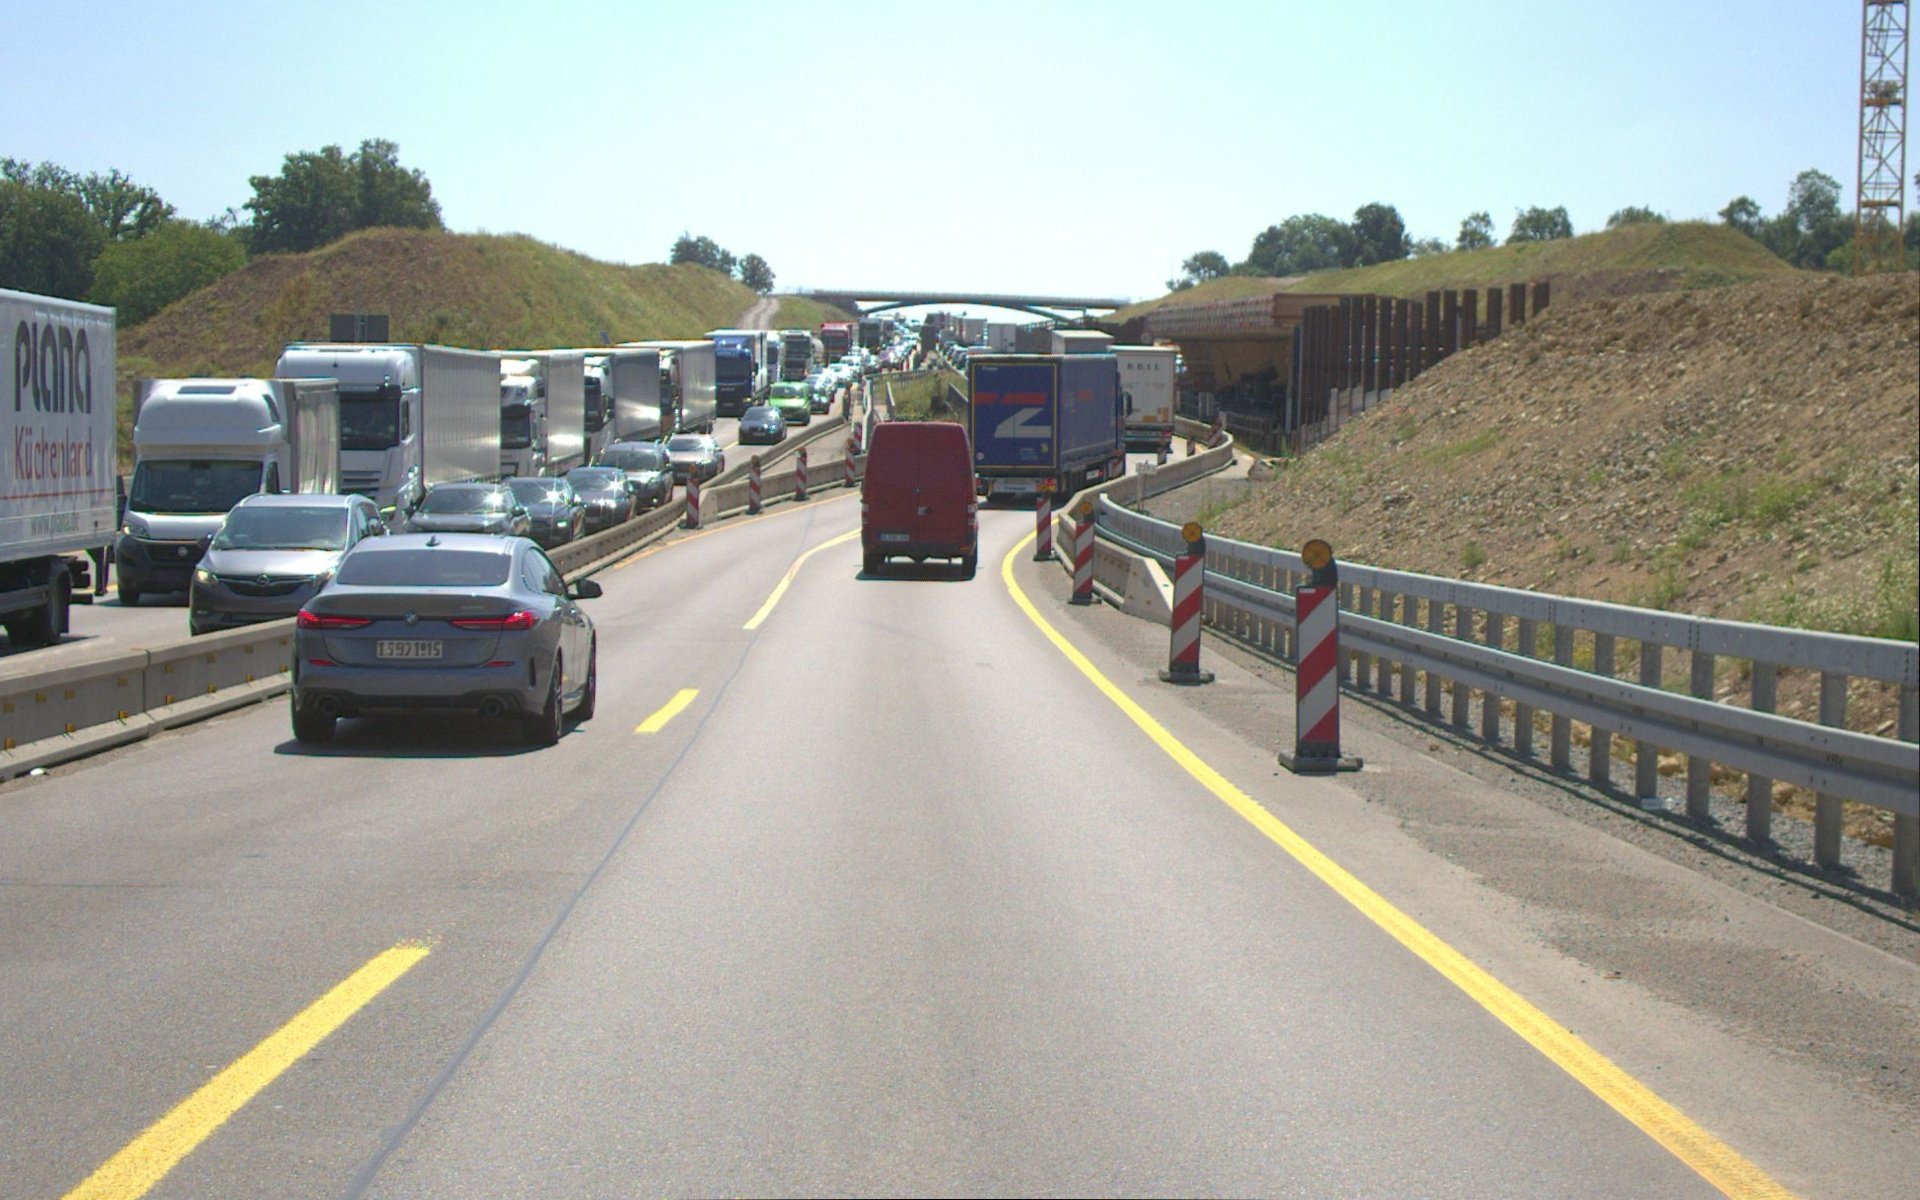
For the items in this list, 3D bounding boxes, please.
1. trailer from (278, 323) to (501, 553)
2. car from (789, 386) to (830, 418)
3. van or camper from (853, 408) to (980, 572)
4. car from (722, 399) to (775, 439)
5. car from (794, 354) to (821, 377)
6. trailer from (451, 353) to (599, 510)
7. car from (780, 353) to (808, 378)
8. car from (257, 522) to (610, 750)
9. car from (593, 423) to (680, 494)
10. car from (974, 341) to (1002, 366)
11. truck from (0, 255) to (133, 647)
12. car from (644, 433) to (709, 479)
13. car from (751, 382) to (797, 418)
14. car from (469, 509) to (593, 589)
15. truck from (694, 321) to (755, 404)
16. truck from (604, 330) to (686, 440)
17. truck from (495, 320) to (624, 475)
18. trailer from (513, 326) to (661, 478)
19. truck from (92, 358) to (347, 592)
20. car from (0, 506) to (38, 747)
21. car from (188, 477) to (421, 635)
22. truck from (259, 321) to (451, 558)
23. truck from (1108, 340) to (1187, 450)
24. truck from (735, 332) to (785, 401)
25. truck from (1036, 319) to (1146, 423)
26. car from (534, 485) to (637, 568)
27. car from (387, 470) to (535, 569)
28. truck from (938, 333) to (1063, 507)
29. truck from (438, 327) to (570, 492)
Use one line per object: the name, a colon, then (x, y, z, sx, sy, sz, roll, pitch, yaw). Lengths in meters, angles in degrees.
trailer: (-11.406, -3.223, 69.966, 2.595, 4.242, 12.469, 1, 2, -1)
car: (-7.665, -10.106, 175.647, 1.952, 1.524, 4.268, 1, 2, -1)
van or camper: (-0.806, -1.934, 60.218, 2.029, 2.734, 4.516, 1, 2, -3)
car: (-8.524, -7.287, 138.951, 1.952, 1.524, 4.268, 1, 2, -1)
car: (-11.285, -17.370, 254.598, 1.952, 1.524, 4.268, 1, 2, -2)
trailer: (-11.585, -4.410, 92.491, 2.783, 3.918, 11.009, 1, 1, -1)
car: (-11.986, -16.914, 248.210, 1.952, 1.525, 4.268, 1, 1, -2)
car: (-3.659, 0.187, 24.702, 1.851, 1.447, 4.742, 1, 1, -1)
car: (-8.273, -3.621, 88.252, 1.993, 1.777, 4.001, 1, 2, -2)
car: (2.098, -18.331, 255.869, 1.952, 1.635, 4.268, 1, 2, -1)
truck: (-10.730, -1.532, 35.446, 2.524, 3.842, 8.672, 1, 2, -2)
car: (-8.838, -4.483, 107.430, 1.747, 1.404, 4.001, 1, 2, -1)
car: (-8.583, -9.205, 158.638, 1.952, 1.524, 4.268, 1, 2, -1)
car: (-8.293, -1.019, 66.787, 1.902, 1.371, 4.547, -2, 2, -1)
truck: (-11.766, -11.860, 172.490, 2.887, 3.826, 8.003, 1, 2, -3)
truck: (-11.583, -7.871, 126.793, 2.683, 3.826, 7.388, 1, 2, -3)
truck: (-11.997, -6.029, 103.387, 3.052, 4.465, 5.980, 1, 2, 1)
trailer: (-11.776, -6.215, 109.589, 3.042, 4.536, 12.128, 1, 2, 2)
truck: (-10.574, -1.834, 49.700, 2.433, 3.137, 7.025, 0, 3, -2)
car: (-7.172, 0.180, 20.777, 1.993, 1.551, 4.339, 1, 1, 0)
car: (-7.277, -0.503, 38.561, 1.827, 1.645, 4.547, 1, 1, -1)
truck: (-11.311, -3.015, 64.759, 2.550, 4.216, 6.531, 1, 2, -1)
truck: (7.552, -8.160, 137.803, 3.038, 4.086, 7.084, 0, 1, 4)
truck: (-11.960, -13.982, 206.378, 2.887, 3.826, 8.003, 1, 2, -3)
truck: (7.131, -12.156, 184.356, 5.161, 4.979, 13.875, -1, 2, 5)
car: (-8.314, -1.631, 76.583, 1.993, 1.777, 4.001, 1, 1, -2)
car: (-8.115, -1.300, 56.238, 1.827, 1.530, 4.547, 1, 1, -1)
truck: (1.089, -5.023, 96.913, 3.020, 4.676, 6.934, -1, 2, -3)
truck: (-11.387, -4.714, 86.239, 2.782, 3.856, 5.462, 1, 1, -2)
